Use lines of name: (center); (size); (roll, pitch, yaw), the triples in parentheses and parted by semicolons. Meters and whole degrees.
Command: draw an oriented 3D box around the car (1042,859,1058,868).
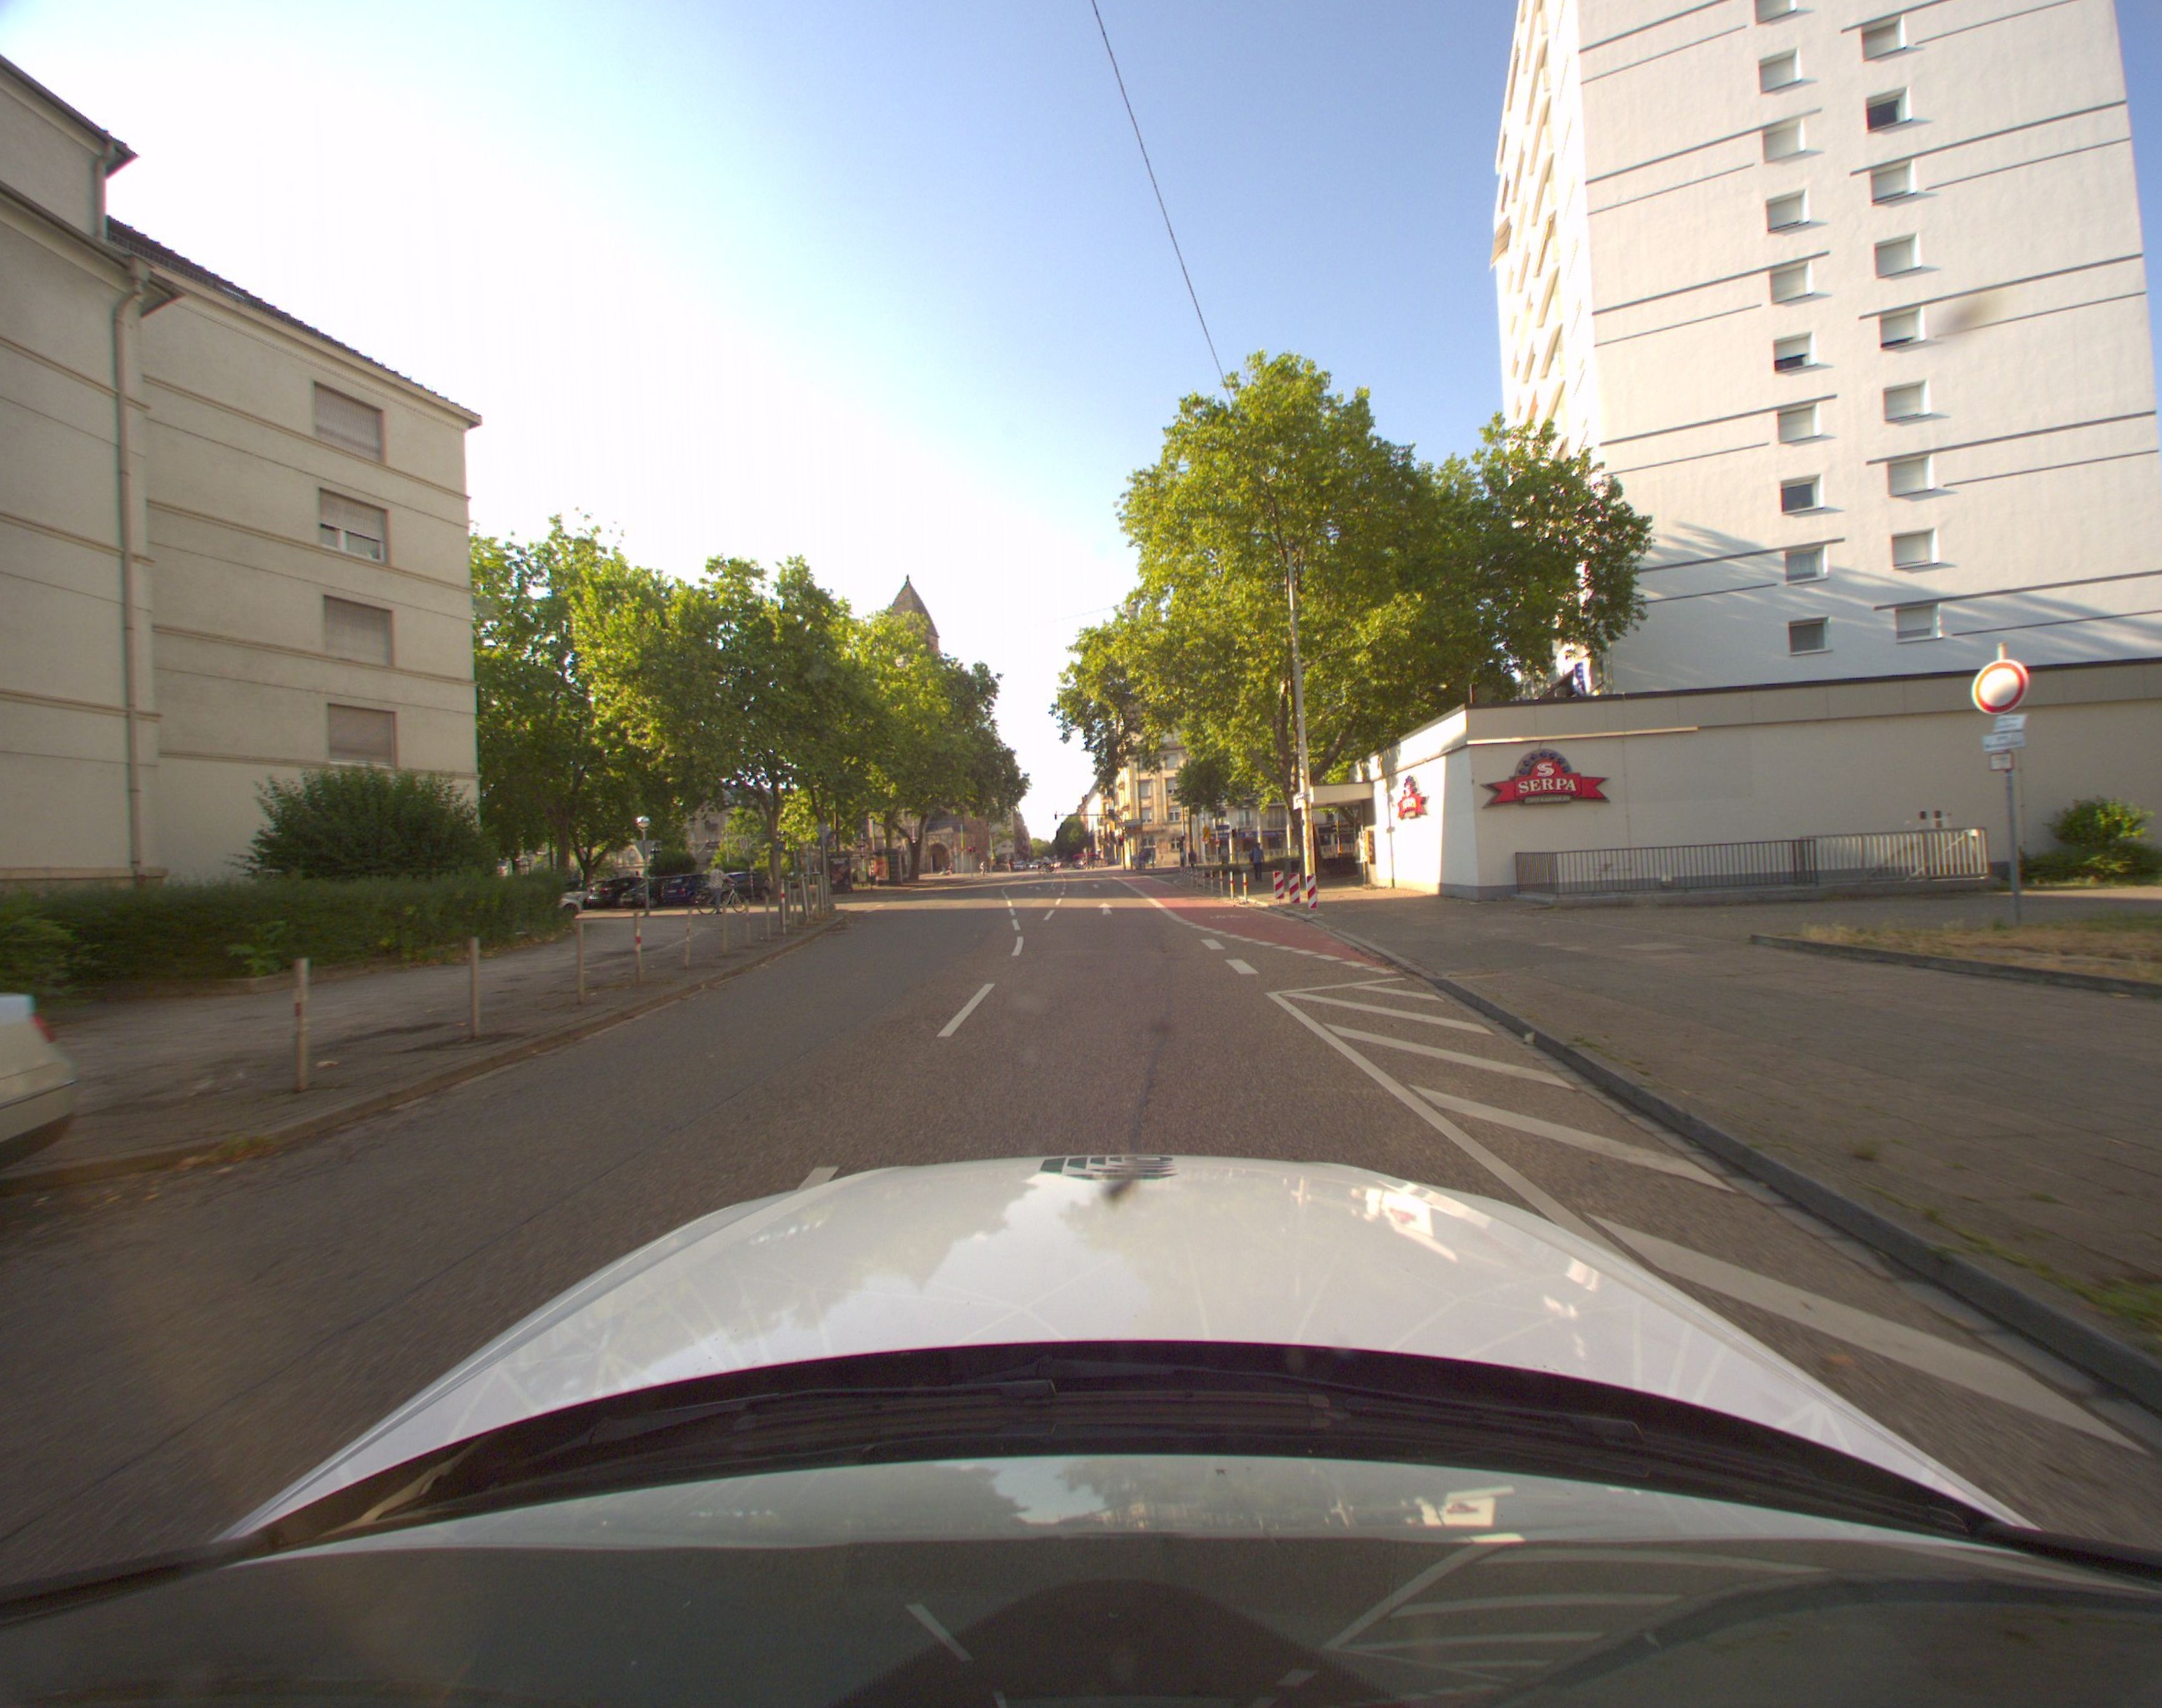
car: (-4.916, 1.534, 129.006); (1.575, 1.463, 3.196); (-1, -1, 15)

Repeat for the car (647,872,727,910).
car: (-20.448, 1.883, 42.497); (1.864, 1.617, 4.007); (-2, 2, 6)

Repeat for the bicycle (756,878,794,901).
bicycle: (-16.199, 1.860, 43.220); (0.715, 1.145, 3.292); (-1, -1, 1)

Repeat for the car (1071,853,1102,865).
car: (1.003, 0.882, 140.000); (5.026, 2.014, 2.142); (0, -2, -38)

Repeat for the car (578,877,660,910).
car: (-24.742, 2.082, 43.782); (1.864, 1.618, 4.006); (-1, -1, 6)

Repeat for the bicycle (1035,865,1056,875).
bicycle: (-3.334, 1.502, 76.513); (1.767, 0.982, 0.660); (-1, -2, 25)

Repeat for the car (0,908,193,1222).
car: (-5.697, 0.929, 2.023); (1.763, 1.352, 4.710); (-1, -1, 0)

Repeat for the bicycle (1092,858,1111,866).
bicycle: (3.097, 1.190, 121.240); (2.799, 1.204, 0.516); (-1, -2, -6)

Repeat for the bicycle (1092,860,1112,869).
bicycle: (3.066, 1.561, 119.763); (2.799, 1.204, 0.509); (-1, -2, -6)

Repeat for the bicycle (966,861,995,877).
bicycle: (-10.506, 1.563, 85.103); (2.824, 1.656, 0.833); (-1, -2, 9)

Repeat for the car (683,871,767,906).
car: (-17.777, 1.686, 40.833); (1.735, 1.517, 3.668); (-3, 0, 20)

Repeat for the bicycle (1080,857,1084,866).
bicycle: (0.162, 1.149, 122.722); (0.506, 1.204, 2.091); (-1, -1, 0)

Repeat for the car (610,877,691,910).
car: (-22.522, 2.031, 42.795); (1.864, 1.618, 4.006); (-1, -1, 6)

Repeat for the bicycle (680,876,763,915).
bicycle: (-12.627, 1.438, 28.699); (0.998, 1.264, 2.499); (-2, -2, 36)

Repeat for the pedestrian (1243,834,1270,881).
pedestrian: (7.920, 0.154, 36.767); (0.824, 2.013, 1.153); (-6, -2, 1)

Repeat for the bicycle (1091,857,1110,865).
bicycle: (2.917, 1.076, 122.091); (2.799, 1.203, 0.509); (-1, 5, -5)

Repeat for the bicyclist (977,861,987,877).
bicyclist: (-10.363, 1.538, 85.076); (0.797, 1.656, 0.937); (-1, -2, 10)

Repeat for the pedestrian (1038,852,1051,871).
pedestrian: (-3.439, 0.708, 76.563); (0.982, 1.708, 0.632); (-1, -2, 25)

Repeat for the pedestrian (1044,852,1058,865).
pedestrian: (-2.868, 0.439, 77.878); (1.040, 1.278, 0.796); (-1, -2, 20)

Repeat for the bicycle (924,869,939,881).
bicycle: (-22.329, 3.150, 121.891); (1.281, 1.750, 4.002); (-1, -1, 3)

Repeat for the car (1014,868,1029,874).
car: (-11.287, 3.159, 154.837); (1.582, 1.144, 3.398); (-1, -1, 16)

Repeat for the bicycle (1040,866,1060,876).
bicycle: (-2.973, 1.597, 77.877); (1.766, 0.895, 0.754); (-3, 0, 19)

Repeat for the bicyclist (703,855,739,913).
bicyclist: (-12.662, 1.049, 28.641); (0.964, 2.014, 0.802); (-2, -2, 36)

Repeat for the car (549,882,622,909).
car: (-27.092, 2.244, 44.673); (1.643, 1.336, 3.699); (-1, -1, 3)
